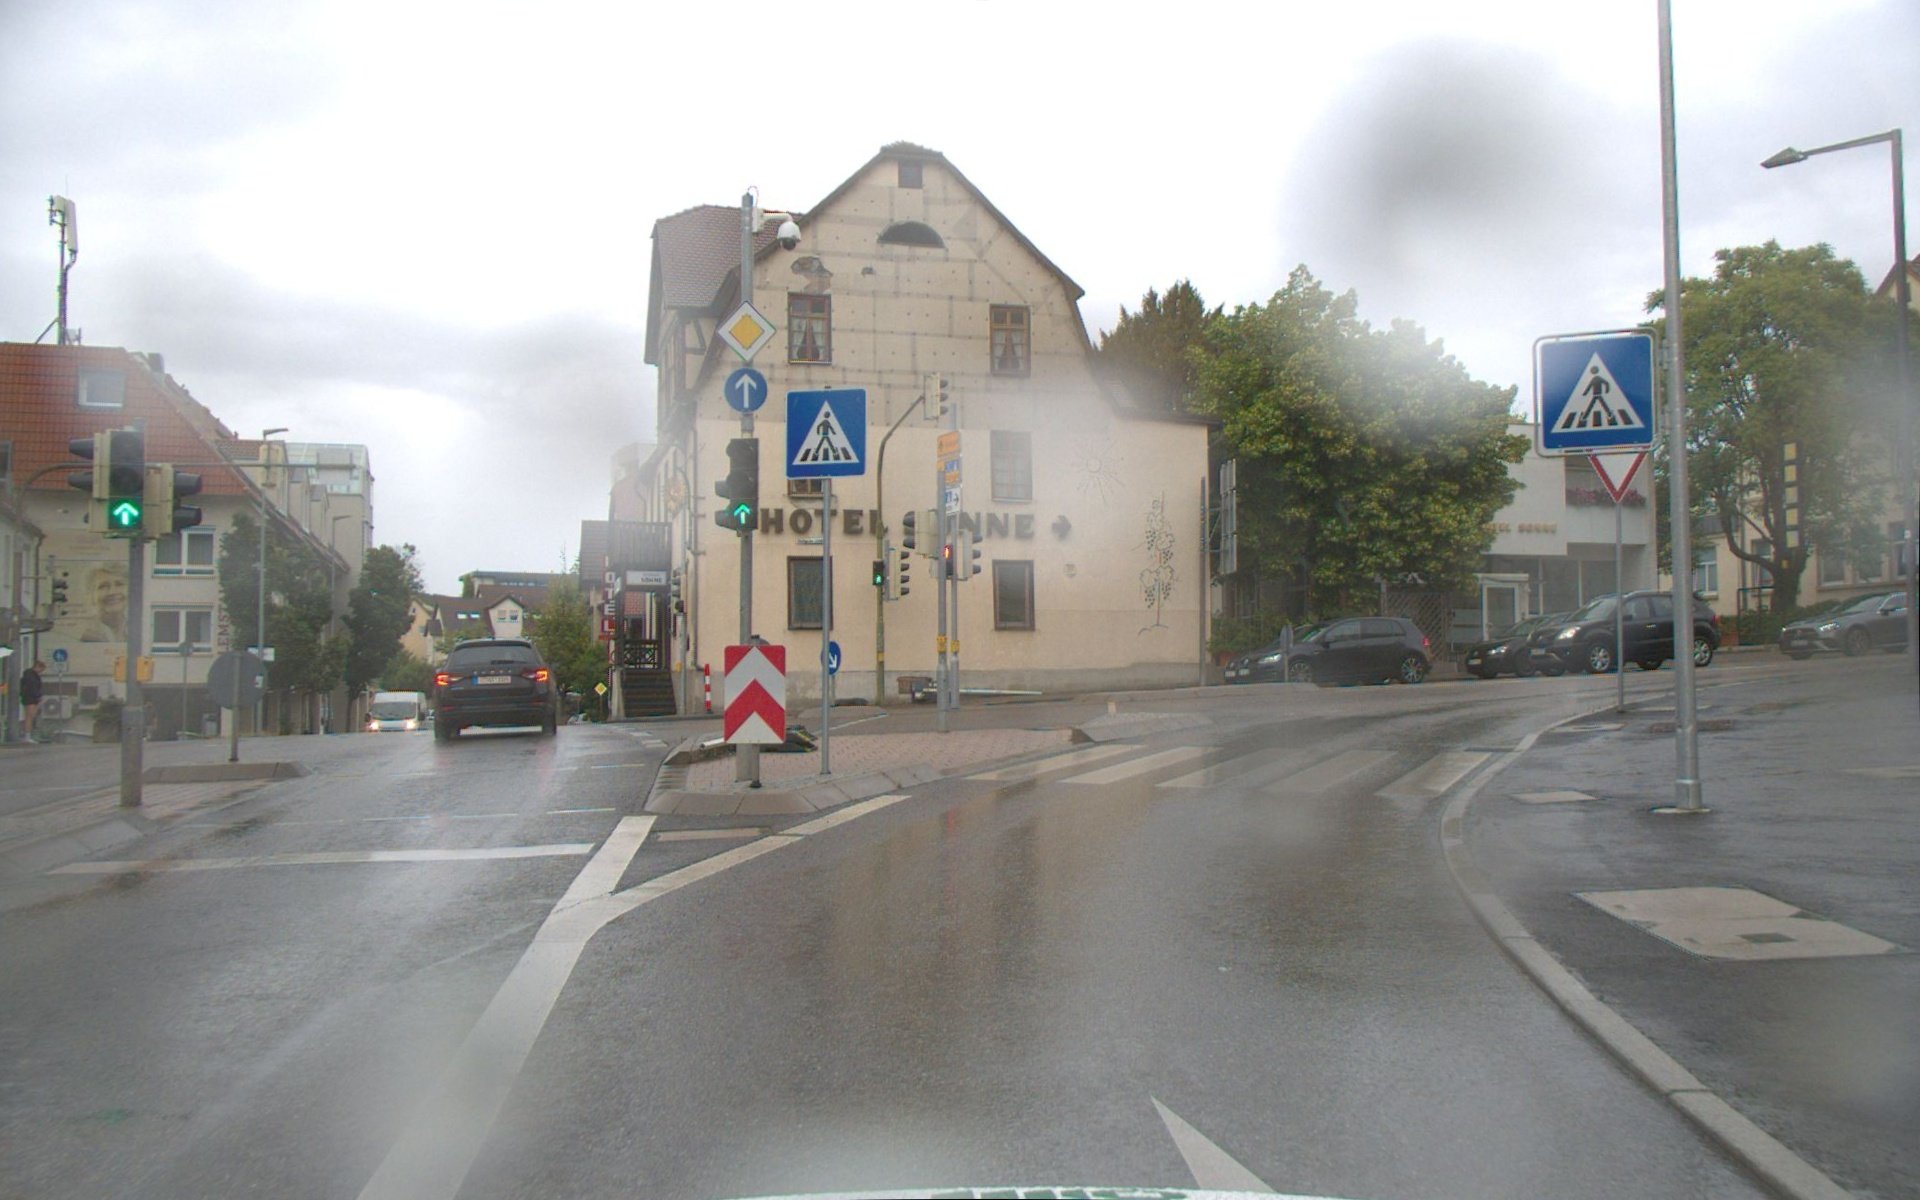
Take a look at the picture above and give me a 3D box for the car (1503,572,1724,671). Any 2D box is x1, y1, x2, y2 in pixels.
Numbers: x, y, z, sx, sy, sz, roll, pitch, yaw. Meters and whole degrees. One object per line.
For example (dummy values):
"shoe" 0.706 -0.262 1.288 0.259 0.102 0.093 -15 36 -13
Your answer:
"car" 14.245 0.471 36.092 4.235 1.847 1.769 -3 -4 -18

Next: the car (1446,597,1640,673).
"car" 14.070 0.851 39.959 4.107 1.545 1.769 -3 -4 -18

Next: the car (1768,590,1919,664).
"car" 21.385 0.586 38.615 4.454 1.477 1.769 -3 -4 -18

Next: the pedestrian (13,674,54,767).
"pedestrian" -19.678 2.545 35.137 0.594 1.900 0.744 -2 -1 -20

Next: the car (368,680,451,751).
"car" -23.814 4.953 71.787 2.542 2.672 6.537 -3 -1 -12

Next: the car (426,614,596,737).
"car" -6.908 1.100 25.881 1.907 1.594 4.411 0 1 -7

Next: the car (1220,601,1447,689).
"car" 7.752 0.935 34.344 4.237 1.531 1.769 -3 -4 -19

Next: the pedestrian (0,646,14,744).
"pedestrian" -19.108 1.883 32.735 0.527 1.904 0.630 -2 -1 -20

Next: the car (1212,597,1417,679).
"car" 7.953 0.864 37.171 4.107 1.545 1.769 -3 -4 -18
